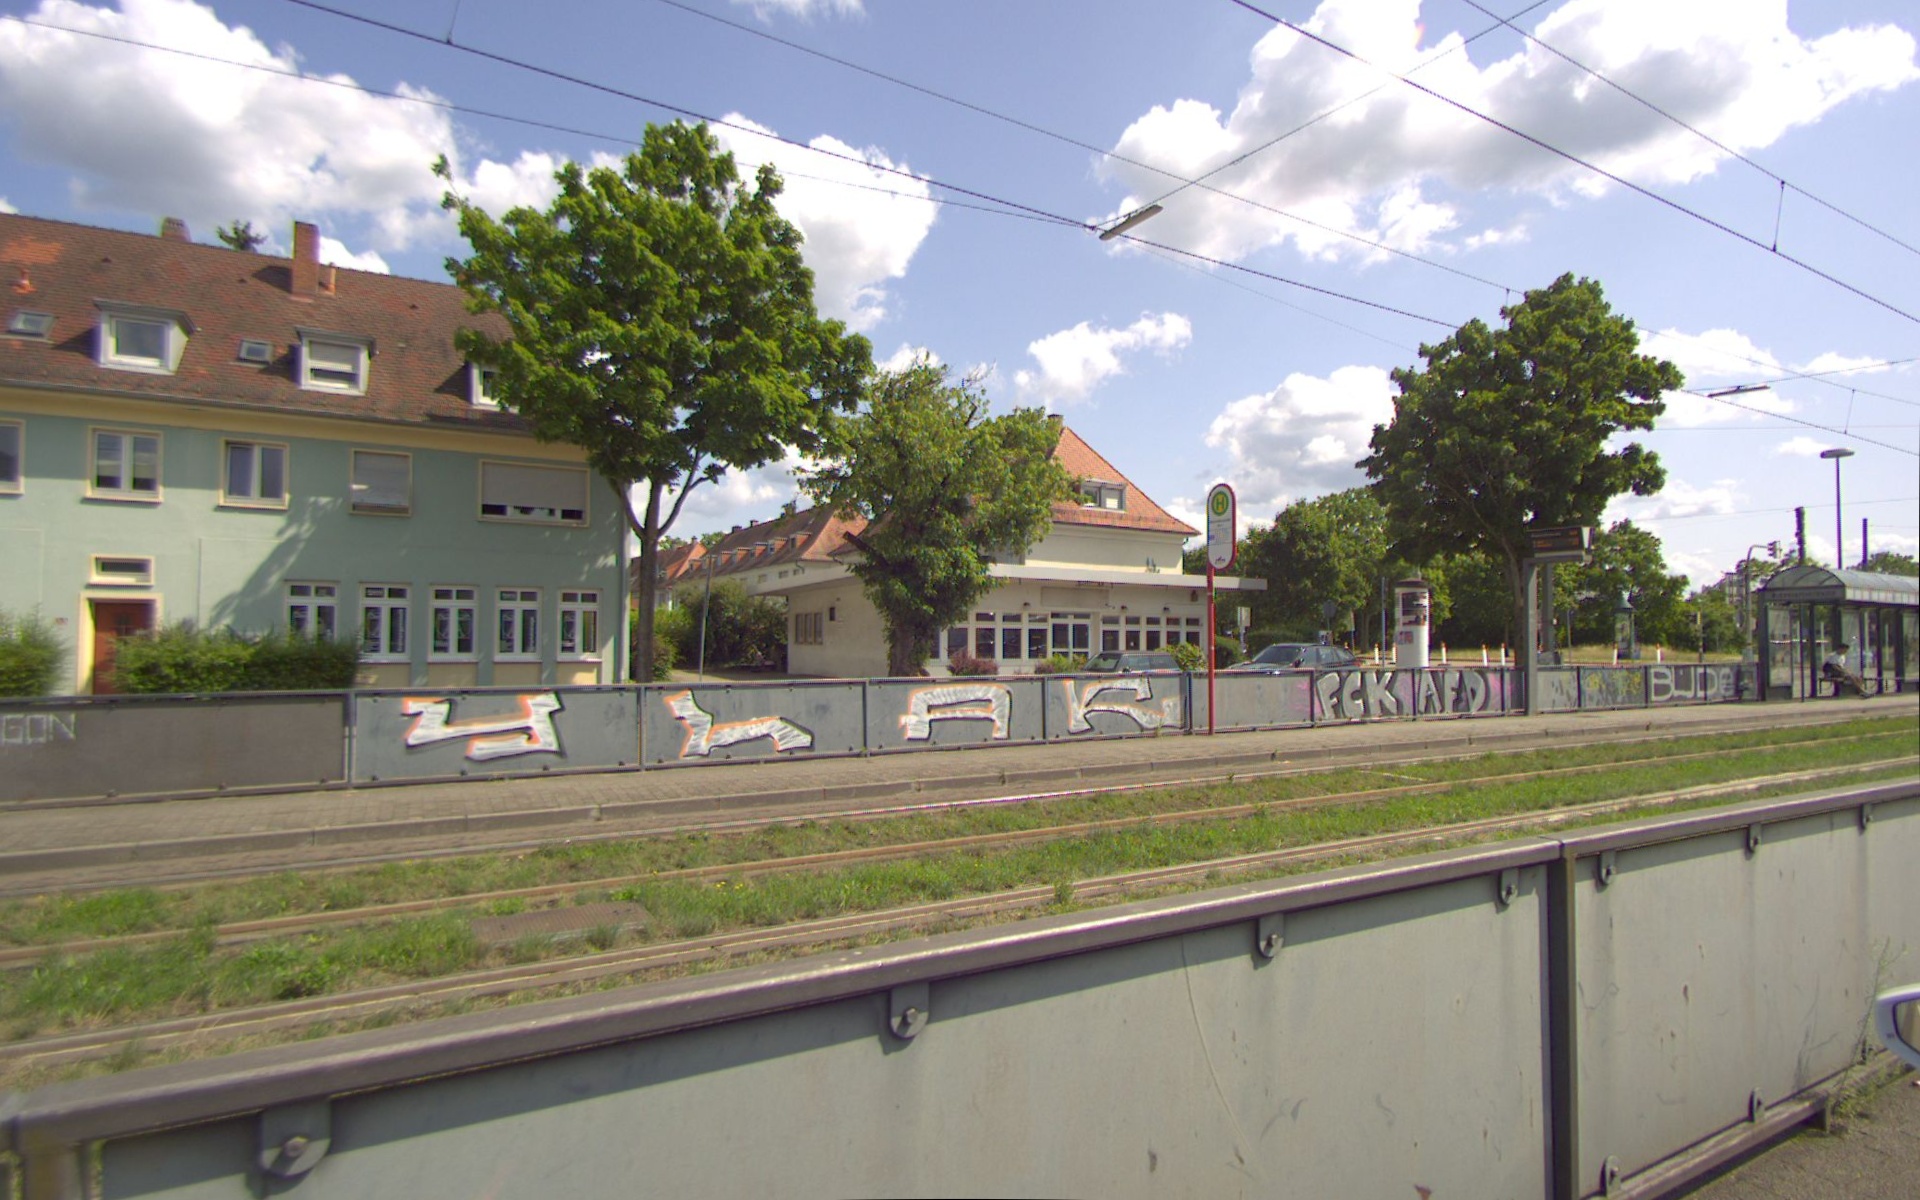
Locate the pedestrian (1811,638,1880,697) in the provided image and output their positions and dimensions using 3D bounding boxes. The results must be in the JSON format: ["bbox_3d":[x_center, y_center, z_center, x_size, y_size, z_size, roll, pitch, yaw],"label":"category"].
[{"bbox_3d":[21.649,1.637,24.578,0.850,1.394,1.054,1,-1,-30],"label":"pedestrian"}]

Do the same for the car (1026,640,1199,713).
[{"bbox_3d":[3.695,1.789,24.327,3.882,1.605,1.779,1,-2,-28],"label":"car"}]

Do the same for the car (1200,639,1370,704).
[{"bbox_3d":[8.952,1.886,27.546,4.707,1.635,2.047,1,-3,-36],"label":"car"}]
